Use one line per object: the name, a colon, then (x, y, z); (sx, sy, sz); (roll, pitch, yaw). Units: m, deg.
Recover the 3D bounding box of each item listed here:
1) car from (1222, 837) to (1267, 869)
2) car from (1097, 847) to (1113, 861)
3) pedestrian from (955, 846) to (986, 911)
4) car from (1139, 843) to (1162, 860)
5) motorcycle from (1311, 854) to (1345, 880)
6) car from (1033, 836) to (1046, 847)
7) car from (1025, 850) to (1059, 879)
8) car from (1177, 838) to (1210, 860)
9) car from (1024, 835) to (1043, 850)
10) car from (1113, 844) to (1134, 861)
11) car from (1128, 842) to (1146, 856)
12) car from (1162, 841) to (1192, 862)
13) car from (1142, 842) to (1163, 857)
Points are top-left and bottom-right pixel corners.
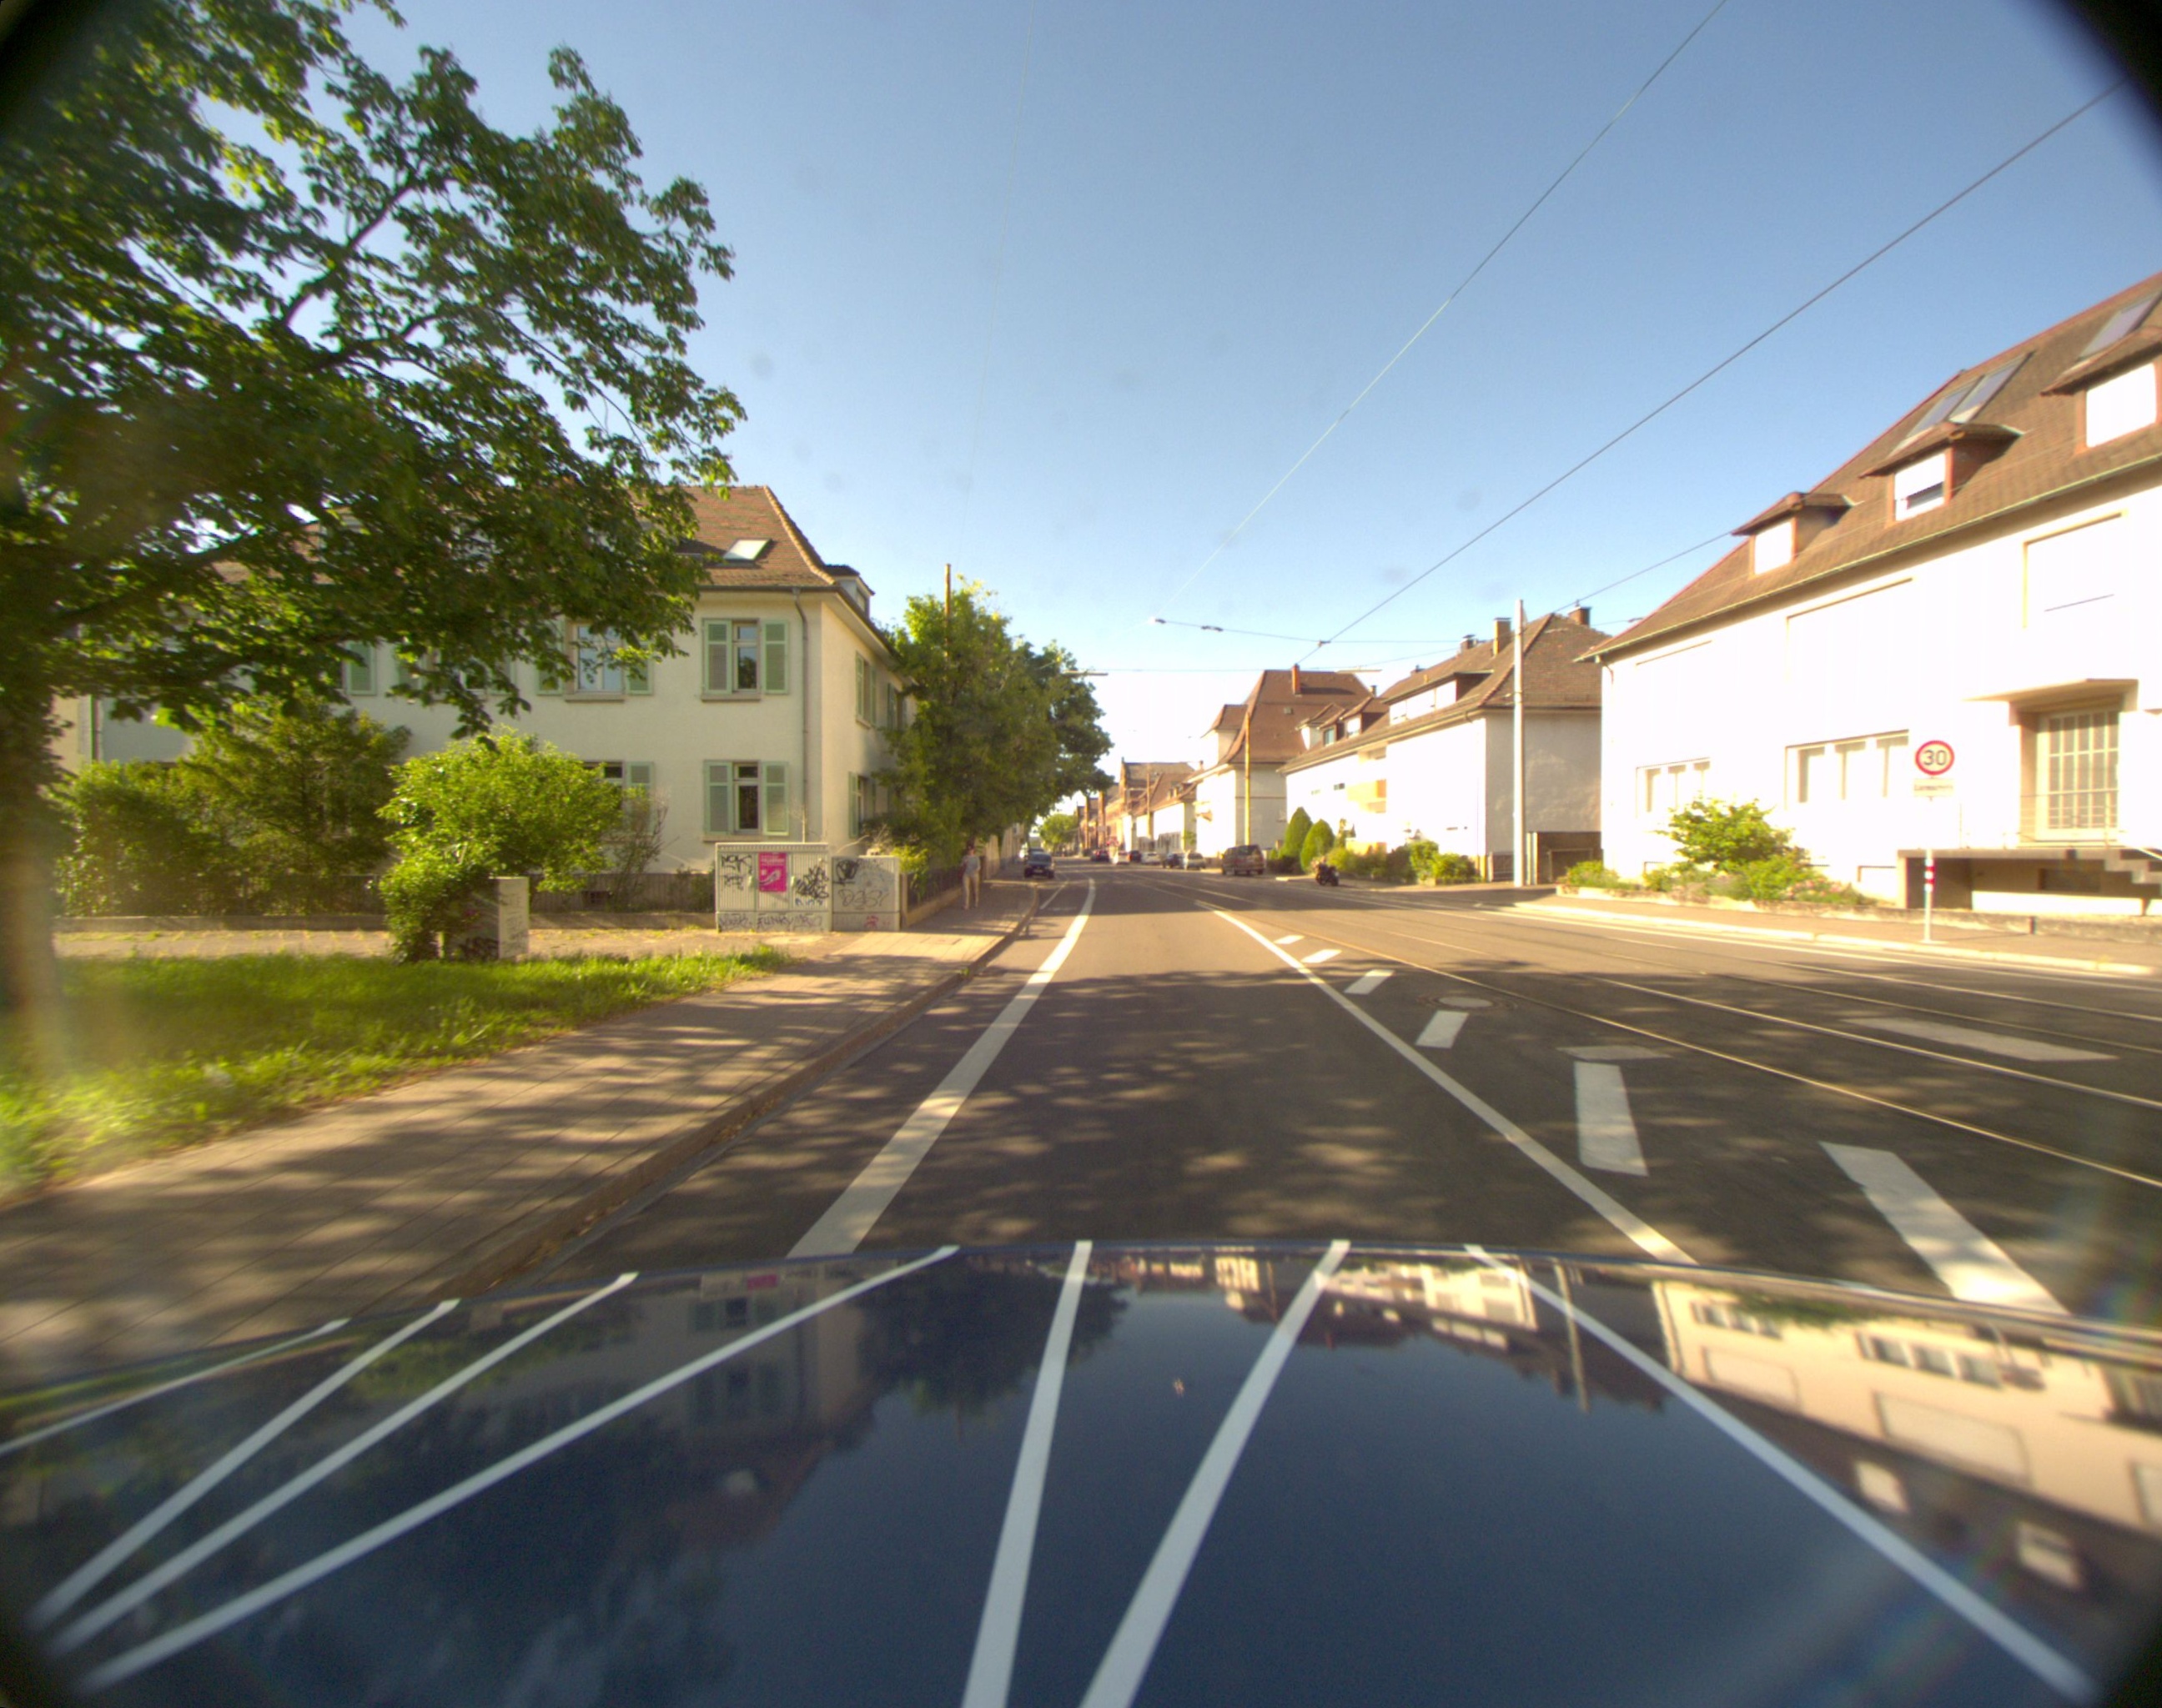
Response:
car: (10.441, -0.067, 48.839); (1.924, 1.890, 3.999); (-2, 1, -1)
car: (3.258, -0.027, 103.339); (1.924, 1.705, 3.999); (-2, 1, 0)
pedestrian: (-2.883, 0.623, 19.900); (0.655, 1.664, 0.943); (1, 1, -1)
car: (7.144, -0.271, 78.265); (1.924, 1.705, 3.999); (-2, 1, 0)
motorcycle: (10.928, 0.553, 33.704); (0.605, 1.040, 2.436); (-2, 1, -1)
car: (-6.543, -1.969, 119.506); (1.705, 1.542, 4.000); (-2, 1, 1)
car: (-2.273, 0.608, 45.149); (1.705, 1.542, 4.000); (-2, 1, 1)
car: (9.359, -0.400, 63.375); (1.924, 1.705, 3.998); (-2, 1, -3)
car: (-5.345, -1.279, 85.374); (1.705, 1.542, 4.000); (-2, 1, 1)
car: (4.431, -0.161, 79.653); (1.924, 1.705, 3.999); (-2, 1, 0)
car: (7.236, -0.682, 99.136); (1.924, 1.705, 3.999); (-3, 1, -1)
car: (8.728, -0.240, 69.250); (1.924, 1.705, 3.998); (-2, 1, -3)
car: (7.932, -0.503, 84.421); (1.924, 1.556, 3.999); (-2, 1, 0)
